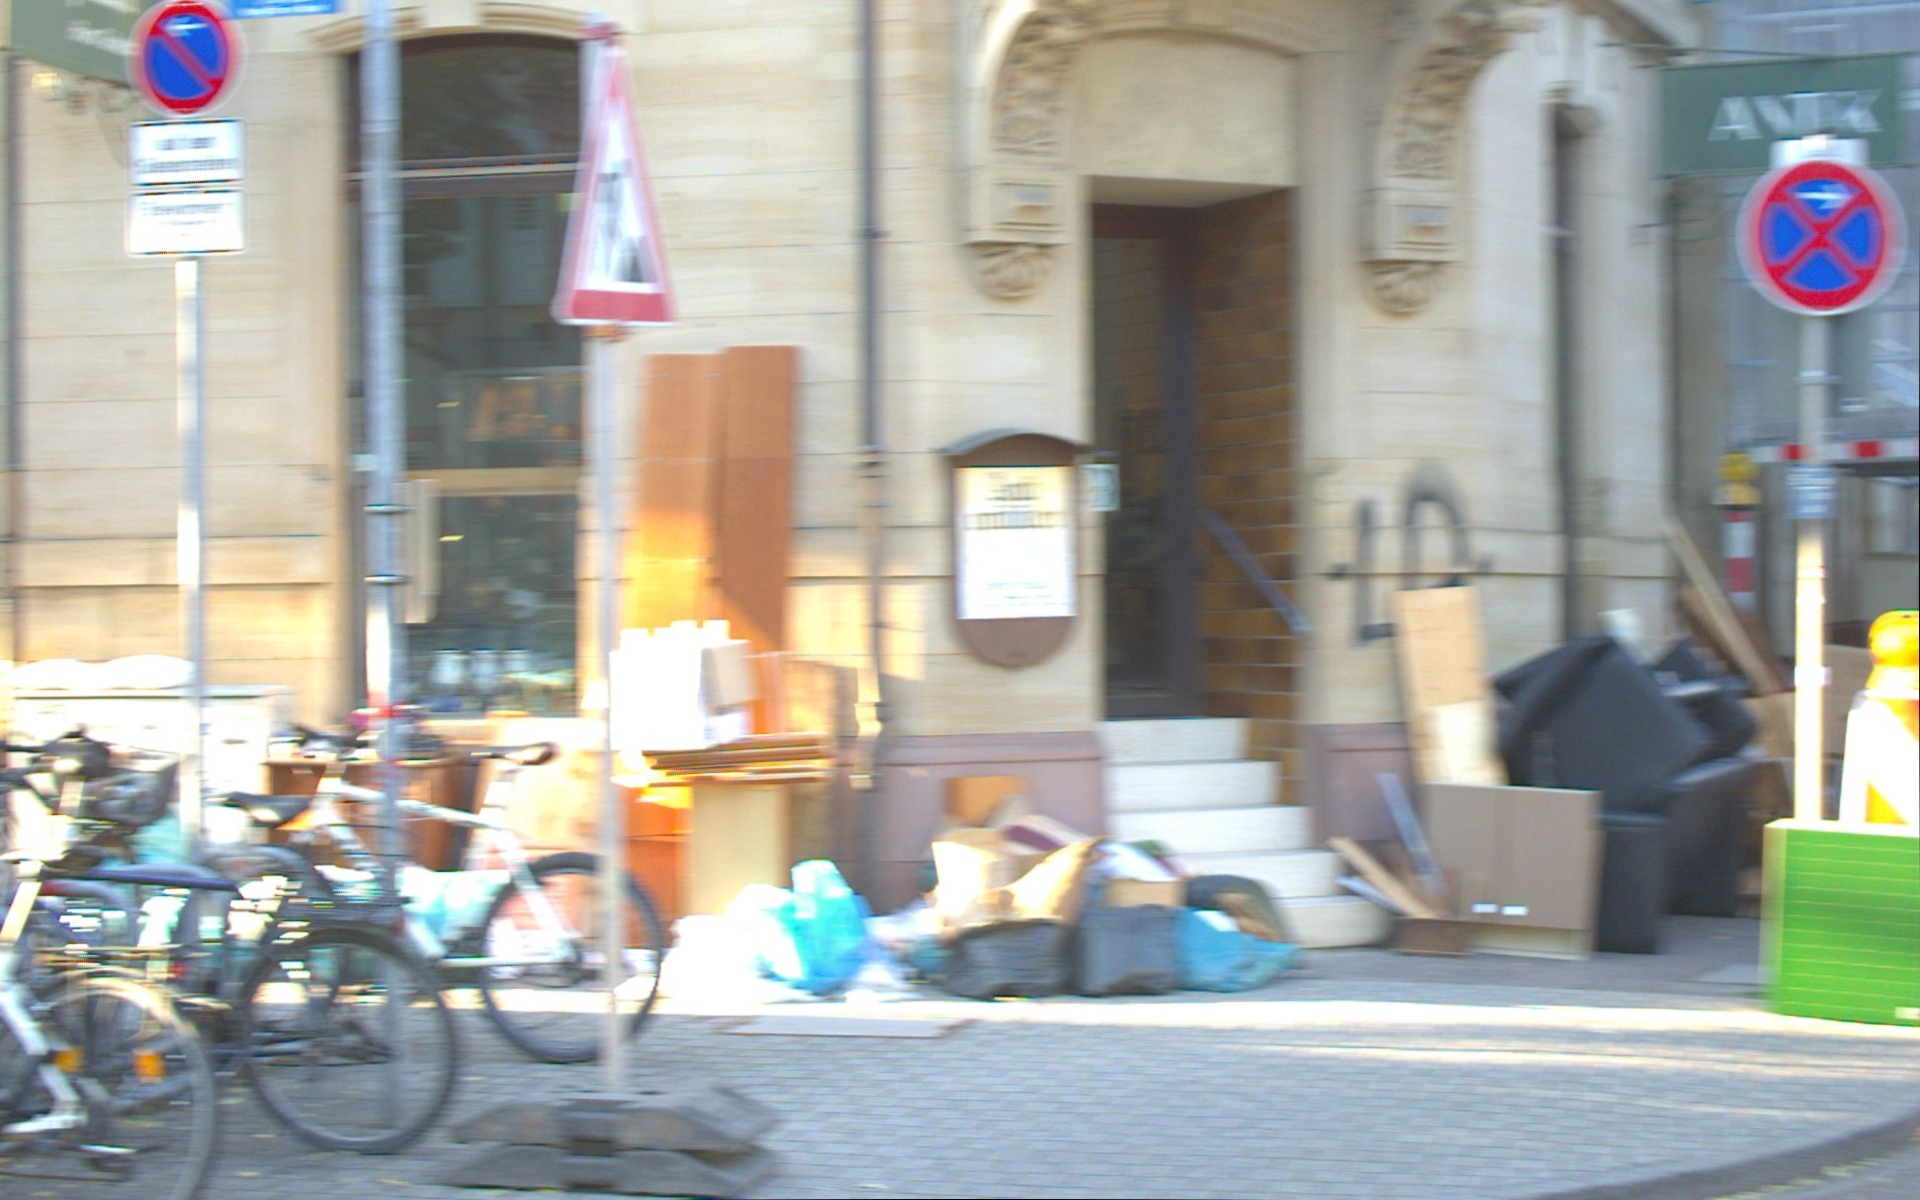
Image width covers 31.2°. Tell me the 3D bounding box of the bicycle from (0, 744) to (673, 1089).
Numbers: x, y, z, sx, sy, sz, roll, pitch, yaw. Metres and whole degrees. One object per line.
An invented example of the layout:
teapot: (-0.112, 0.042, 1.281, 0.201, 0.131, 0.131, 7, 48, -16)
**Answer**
bicycle: (-2.002, 0.992, 11.011, 2.104, 1.036, 0.465, 0, 0, 12)

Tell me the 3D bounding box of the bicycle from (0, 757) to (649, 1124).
bicycle: (-2.045, 0.996, 10.352, 2.104, 1.010, 0.639, 0, 0, 12)

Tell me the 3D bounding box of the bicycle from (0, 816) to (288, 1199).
bicycle: (-2.529, 1.042, 7.999, 1.827, 1.043, 0.571, 0, 0, 16)

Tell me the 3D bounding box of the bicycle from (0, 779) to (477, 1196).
bicycle: (-2.270, 1.003, 9.168, 1.827, 1.010, 0.639, 0, 0, 12)
